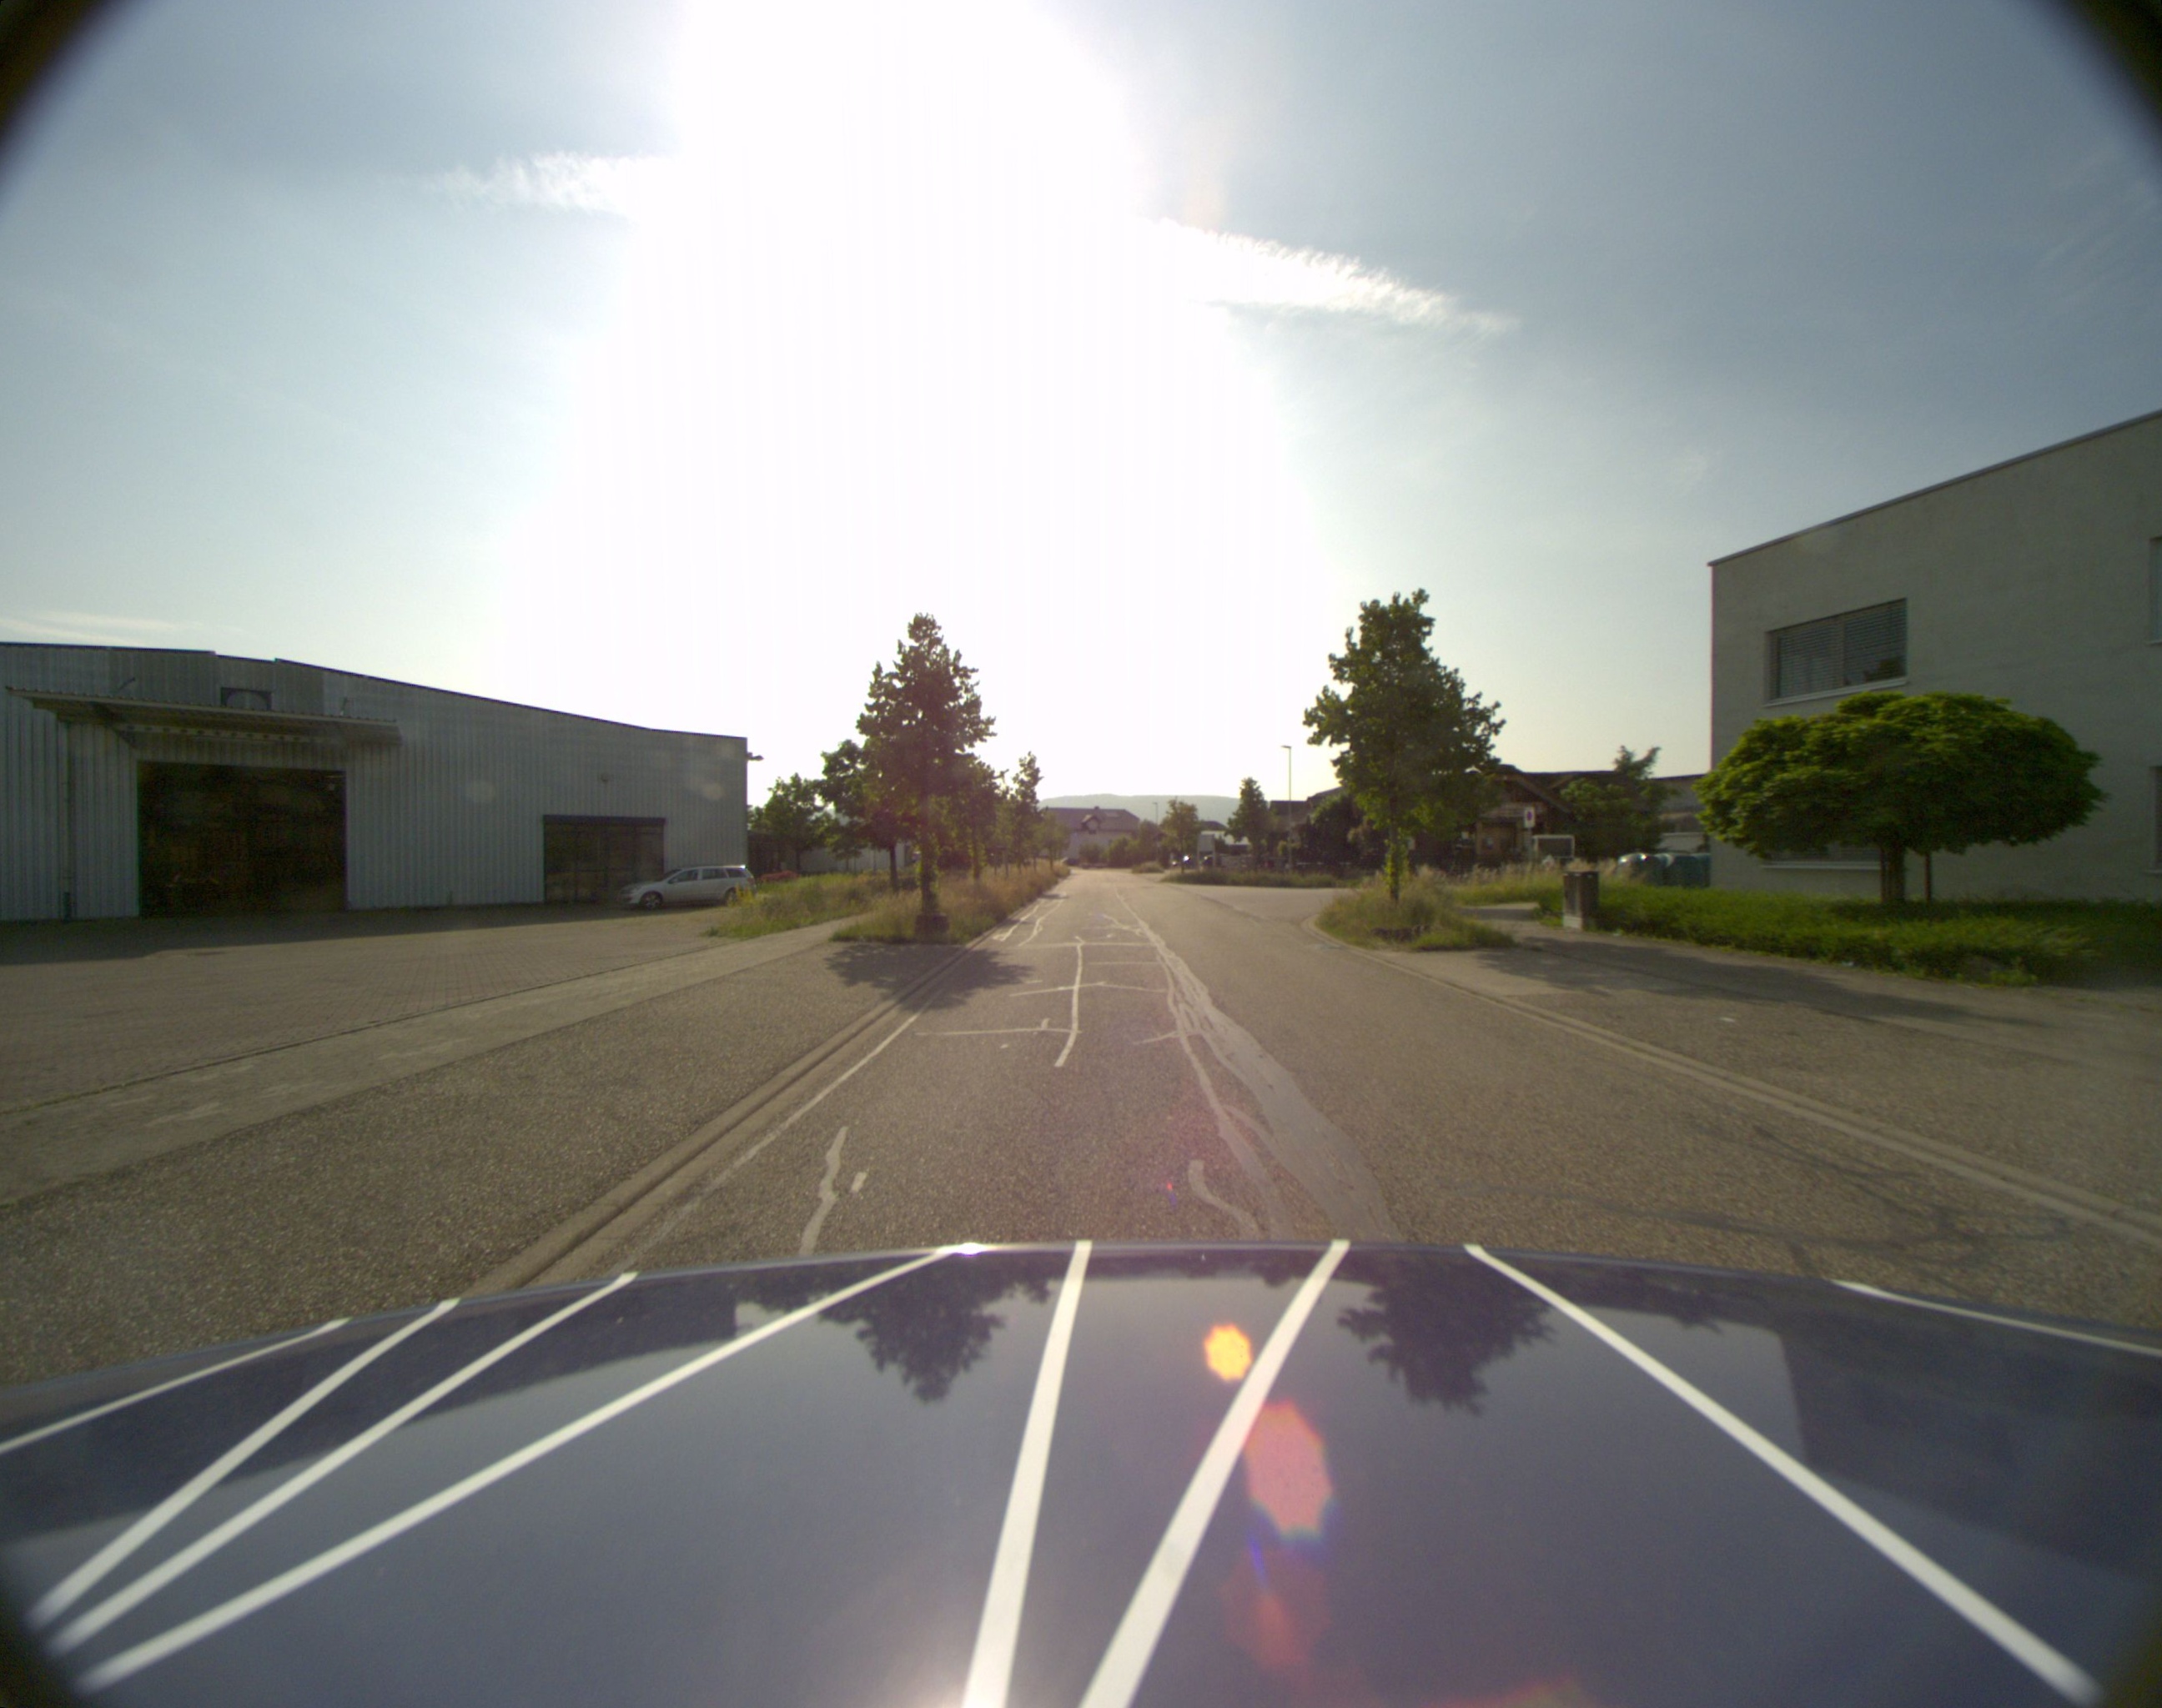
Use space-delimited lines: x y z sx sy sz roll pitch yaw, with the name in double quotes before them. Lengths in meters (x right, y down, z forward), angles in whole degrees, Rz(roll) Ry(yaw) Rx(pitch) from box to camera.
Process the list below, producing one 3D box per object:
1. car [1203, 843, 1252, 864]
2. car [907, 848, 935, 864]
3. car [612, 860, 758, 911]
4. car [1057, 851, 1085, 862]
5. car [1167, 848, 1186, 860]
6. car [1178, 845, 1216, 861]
"car" 12.934 -0.060 67.413 3.996 1.718 2.000 -1 1 2
"car" -18.716 0.172 89.043 1.598 1.672 3.760 -3 1 16
"car" -14.165 1.076 27.304 4.368 1.554 1.753 -1 3 -41
"car" -1.585 0.413 122.388 4.004 1.761 1.996 -2 1 -23
"car" 12.603 0.024 100.587 1.615 1.472 3.548 -1 0 -6
"car" 13.855 -0.141 90.677 4.004 1.783 1.996 -2 1 -20
